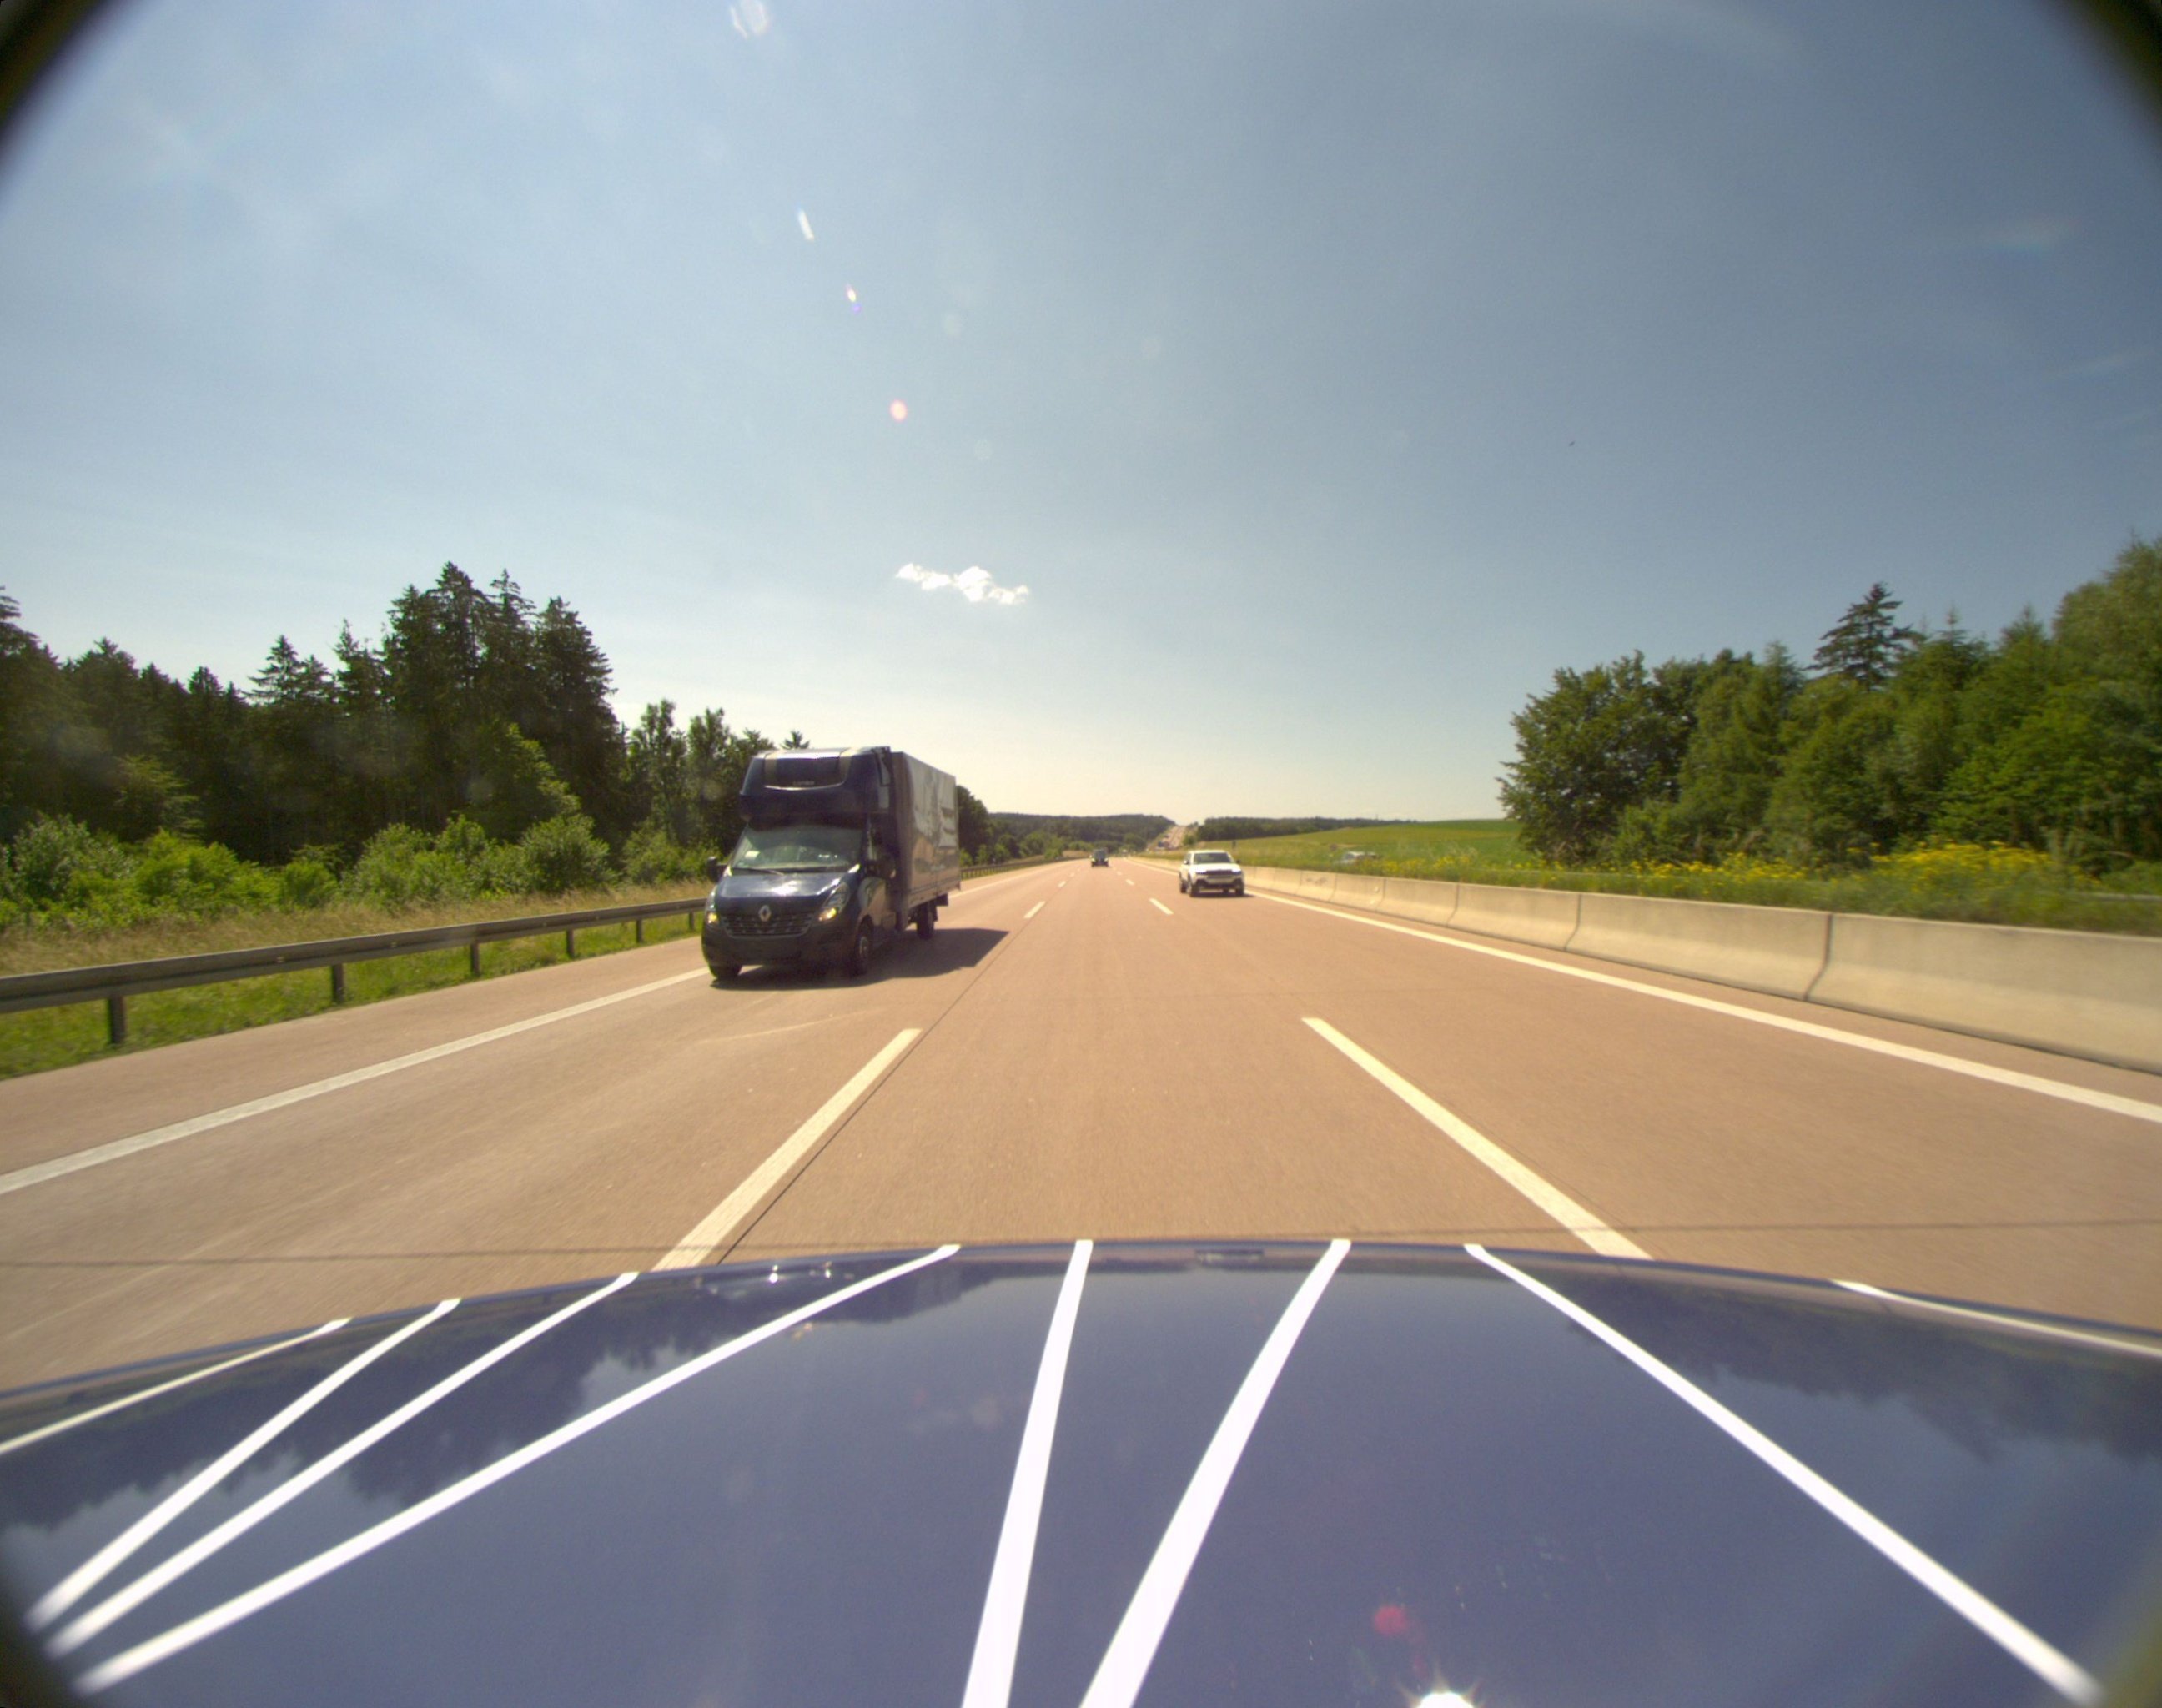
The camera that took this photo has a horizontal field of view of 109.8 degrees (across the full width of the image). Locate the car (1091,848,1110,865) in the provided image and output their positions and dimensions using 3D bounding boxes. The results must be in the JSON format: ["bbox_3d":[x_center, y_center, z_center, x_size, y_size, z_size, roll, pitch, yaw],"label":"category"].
[{"bbox_3d":[2.240,0.298,86.679,1.998,1.805,4.564,-1,0,1],"label":"car"}]

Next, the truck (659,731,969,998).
[{"bbox_3d":[-3.826,0.109,13.170,2.508,3.200,7.783,-1,0,0],"label":"truck"}]

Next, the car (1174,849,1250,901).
[{"bbox_3d":[4.430,0.653,26.456,1.883,1.598,4.834,-1,0,1],"label":"car"}]

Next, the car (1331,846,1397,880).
[{"bbox_3d":[16.811,0.510,45.383,1.896,1.852,5.102,-1,0,-1],"label":"car"}]
